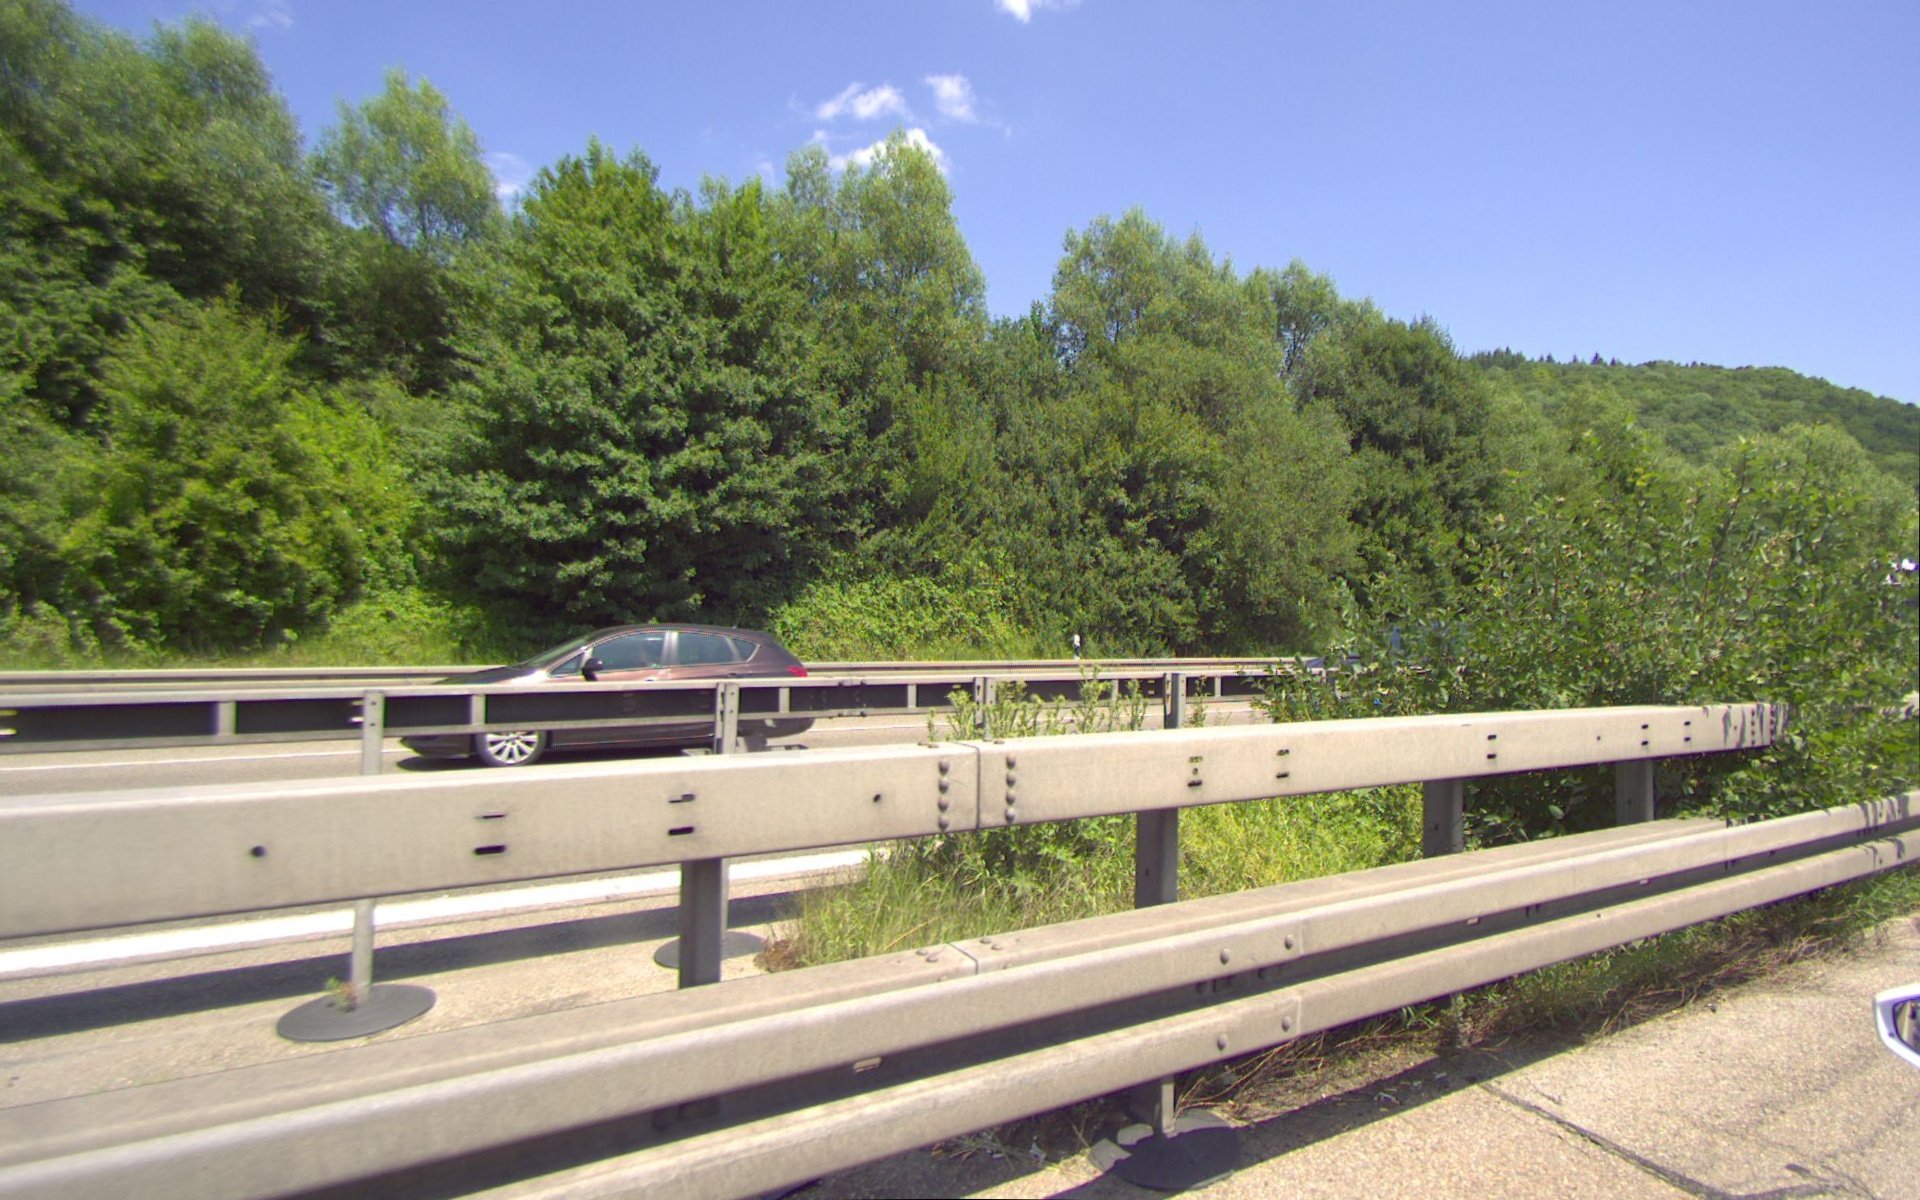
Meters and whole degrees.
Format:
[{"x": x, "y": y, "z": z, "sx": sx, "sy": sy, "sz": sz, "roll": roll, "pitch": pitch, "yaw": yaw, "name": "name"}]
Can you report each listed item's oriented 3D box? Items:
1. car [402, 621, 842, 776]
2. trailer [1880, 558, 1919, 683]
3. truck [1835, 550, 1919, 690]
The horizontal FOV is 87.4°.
[{"x": -3.709, "y": 0.989, "z": 11.232, "sx": 4.381, "sy": 1.439, "sz": 1.861, "roll": 2, "pitch": -2, "yaw": -30, "name": "car"}, {"x": 36.744, "y": 0.809, "z": 35.587, "sx": 12.454, "sy": 4.058, "sz": 2.568, "roll": 2, "pitch": 0, "yaw": -31, "name": "trailer"}, {"x": 30.726, "y": 0.673, "z": 32.052, "sx": 5.782, "sy": 4.144, "sz": 2.535, "roll": 2, "pitch": -1, "yaw": -30, "name": "truck"}]
